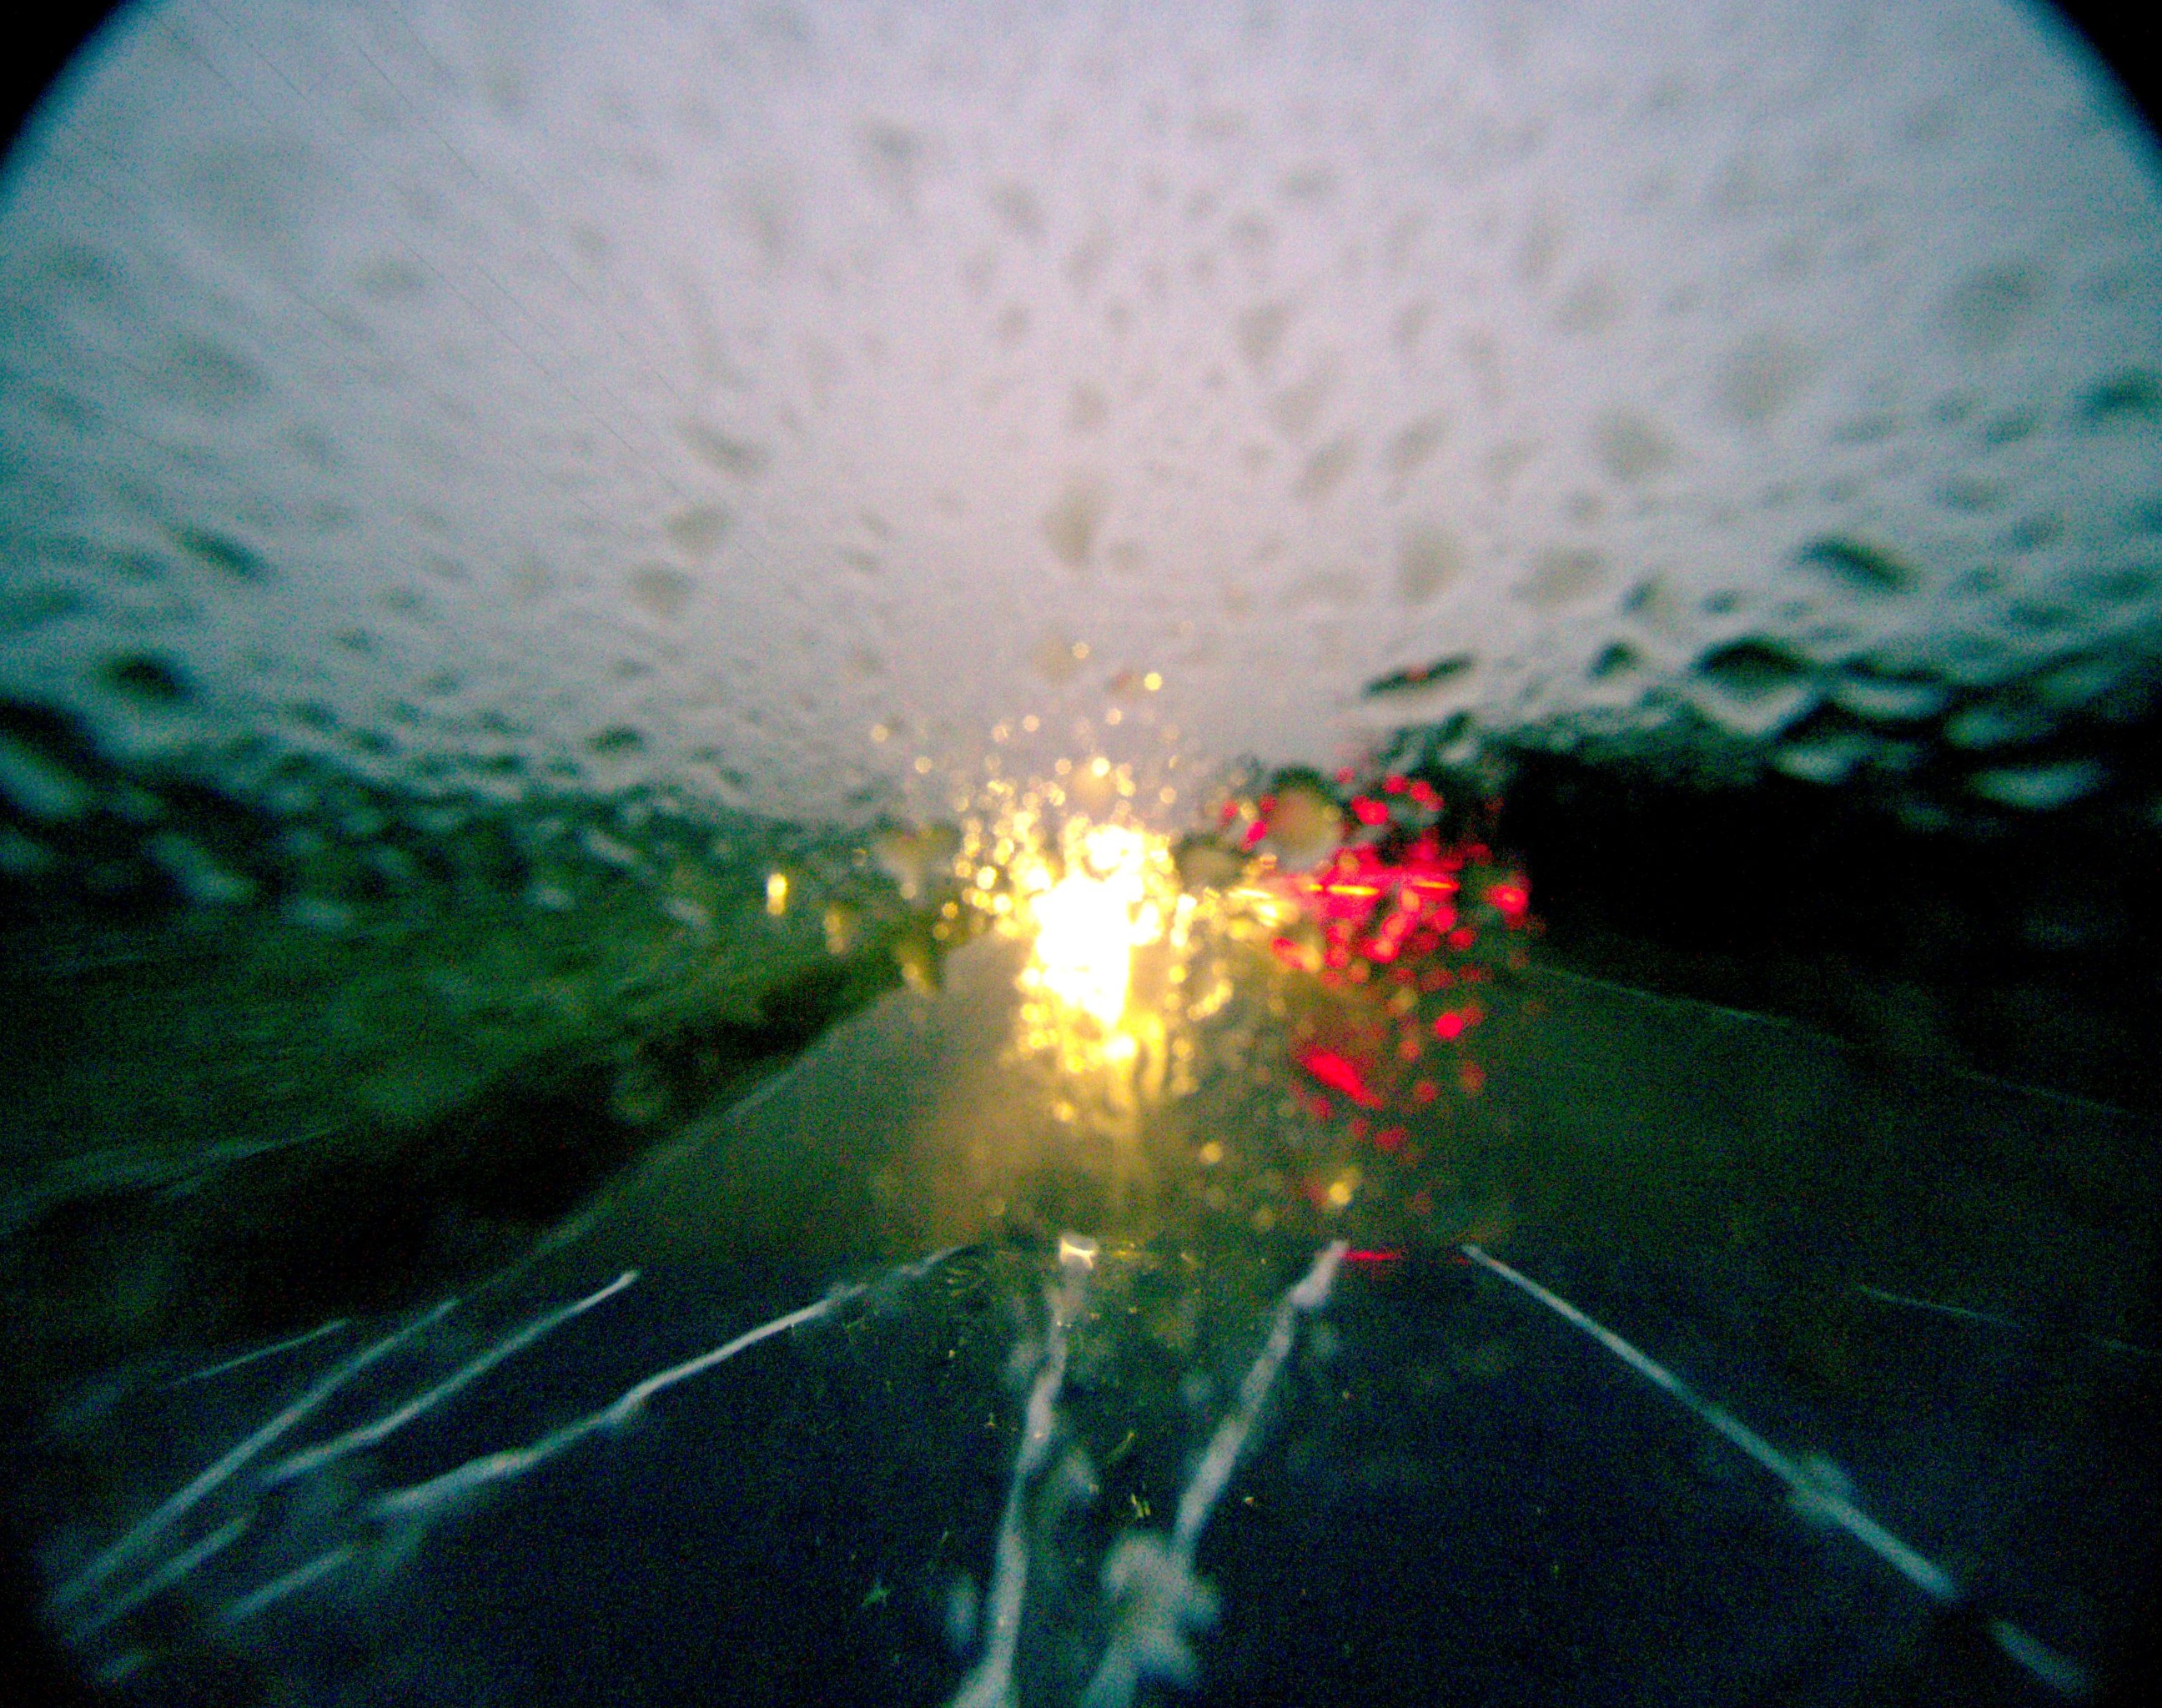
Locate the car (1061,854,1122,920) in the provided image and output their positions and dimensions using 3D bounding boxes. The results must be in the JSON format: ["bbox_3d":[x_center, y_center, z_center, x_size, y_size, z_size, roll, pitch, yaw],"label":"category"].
[{"bbox_3d":[0.423,1.056,26.070,1.856,2.002,4.001,-2,0,3],"label":"car"}]

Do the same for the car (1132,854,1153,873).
[{"bbox_3d":[5.829,0.861,72.007,1.790,1.740,4.258,-1,0,3],"label":"car"}]

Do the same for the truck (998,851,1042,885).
[{"bbox_3d":[-4.966,1.053,63.855,2.510,2.556,10.805,-2,0,1],"label":"truck"}]

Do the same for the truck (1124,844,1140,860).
[{"bbox_3d":[8.304,-0.260,124.111,2.244,2.453,5.374,-2,0,2],"label":"truck"}]

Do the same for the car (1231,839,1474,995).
[{"bbox_3d":[3.491,0.714,10.779,1.867,1.690,4.468,-2,0,1],"label":"car"}]
